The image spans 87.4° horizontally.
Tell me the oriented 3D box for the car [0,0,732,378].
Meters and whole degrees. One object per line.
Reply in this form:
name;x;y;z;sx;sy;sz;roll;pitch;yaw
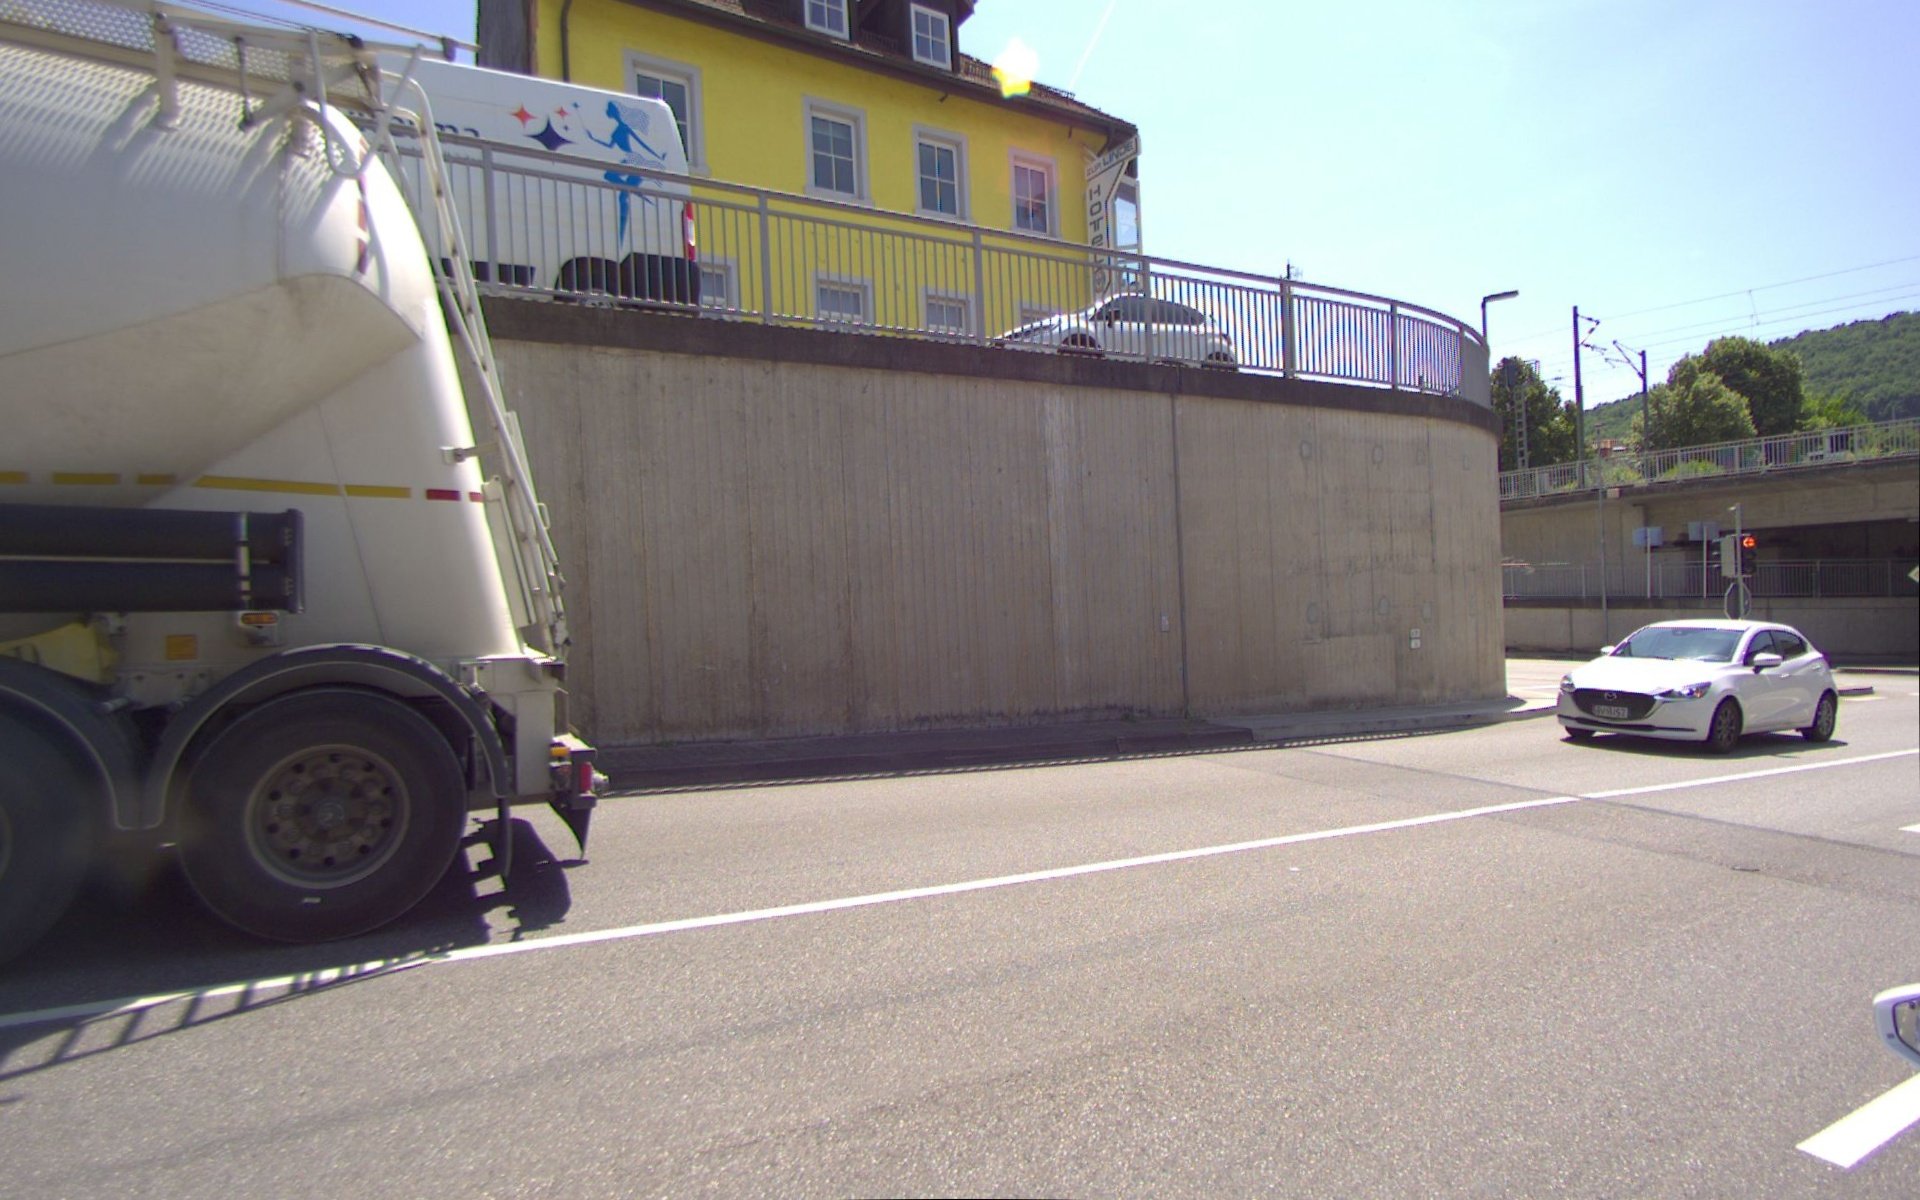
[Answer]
car;-5.184;-3.748;9.286;5.596;2.571;2.054;-3;2;-31

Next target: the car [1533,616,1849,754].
car;9.109;0.961;12.460;4.045;1.460;1.674;1;-1;-30

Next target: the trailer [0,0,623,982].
trailer;-6.235;-0.680;3.521;9.235;4.017;2.598;1;0;-30

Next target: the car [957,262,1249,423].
car;2.076;-3.475;14.114;4.000;1.521;1.609;-3;2;-33
